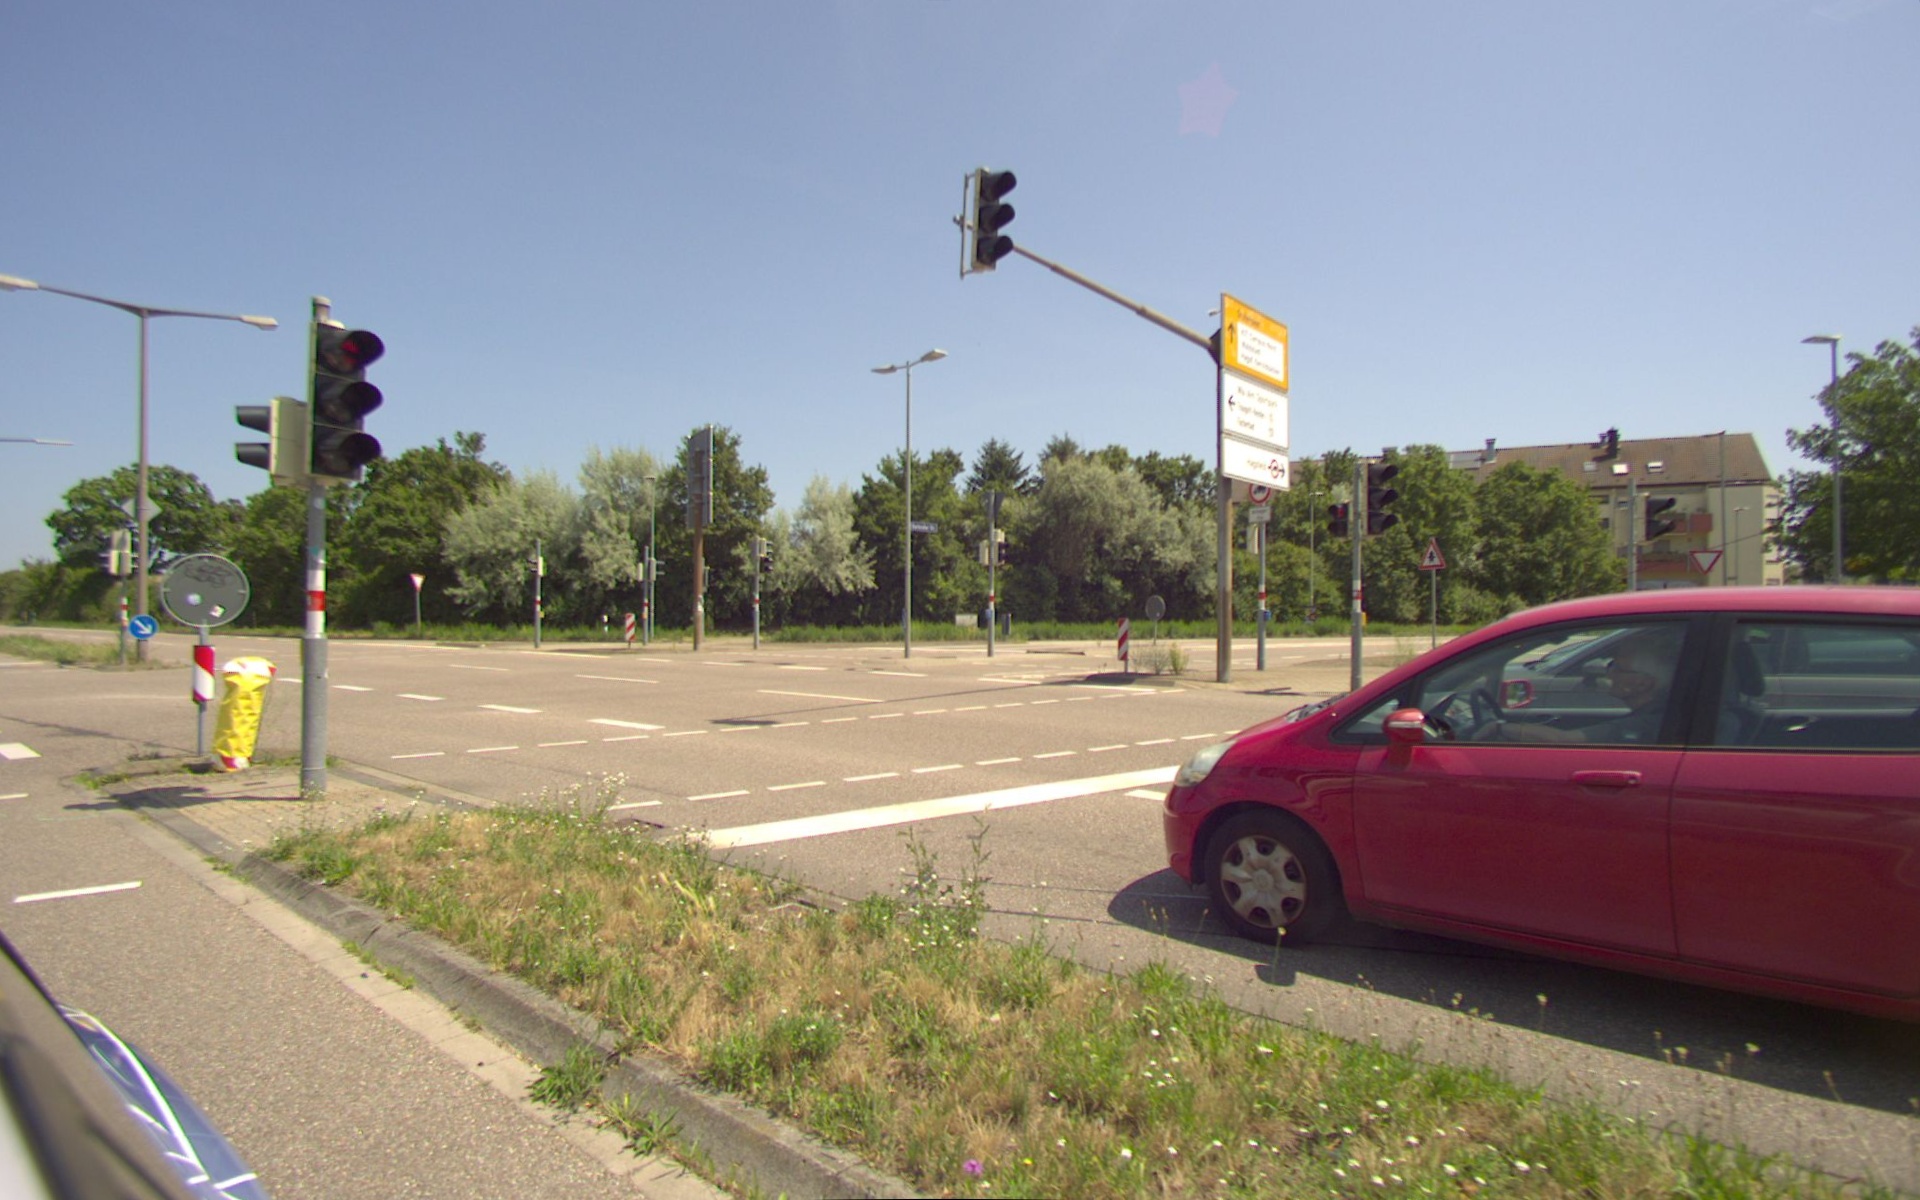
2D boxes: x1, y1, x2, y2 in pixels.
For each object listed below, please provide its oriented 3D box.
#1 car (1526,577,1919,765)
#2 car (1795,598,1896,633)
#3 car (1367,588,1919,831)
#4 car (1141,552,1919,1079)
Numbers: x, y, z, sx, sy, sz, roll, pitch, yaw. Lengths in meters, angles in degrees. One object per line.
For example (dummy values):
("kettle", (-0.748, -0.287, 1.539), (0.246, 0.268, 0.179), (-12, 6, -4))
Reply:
("car", (7.785, 0.595, 9.578), (3.997, 1.551, 1.641), (-1, 0, 40))
("car", (38.907, 0.671, 44.474), (3.761, 1.460, 1.835), (1, 0, -22))
("car", (5.177, 0.638, 7.115), (4.000, 1.395, 1.580), (-1, 0, 40))
("car", (2.860, 0.629, 3.868), (3.997, 1.502, 1.641), (-1, -1, 40))
